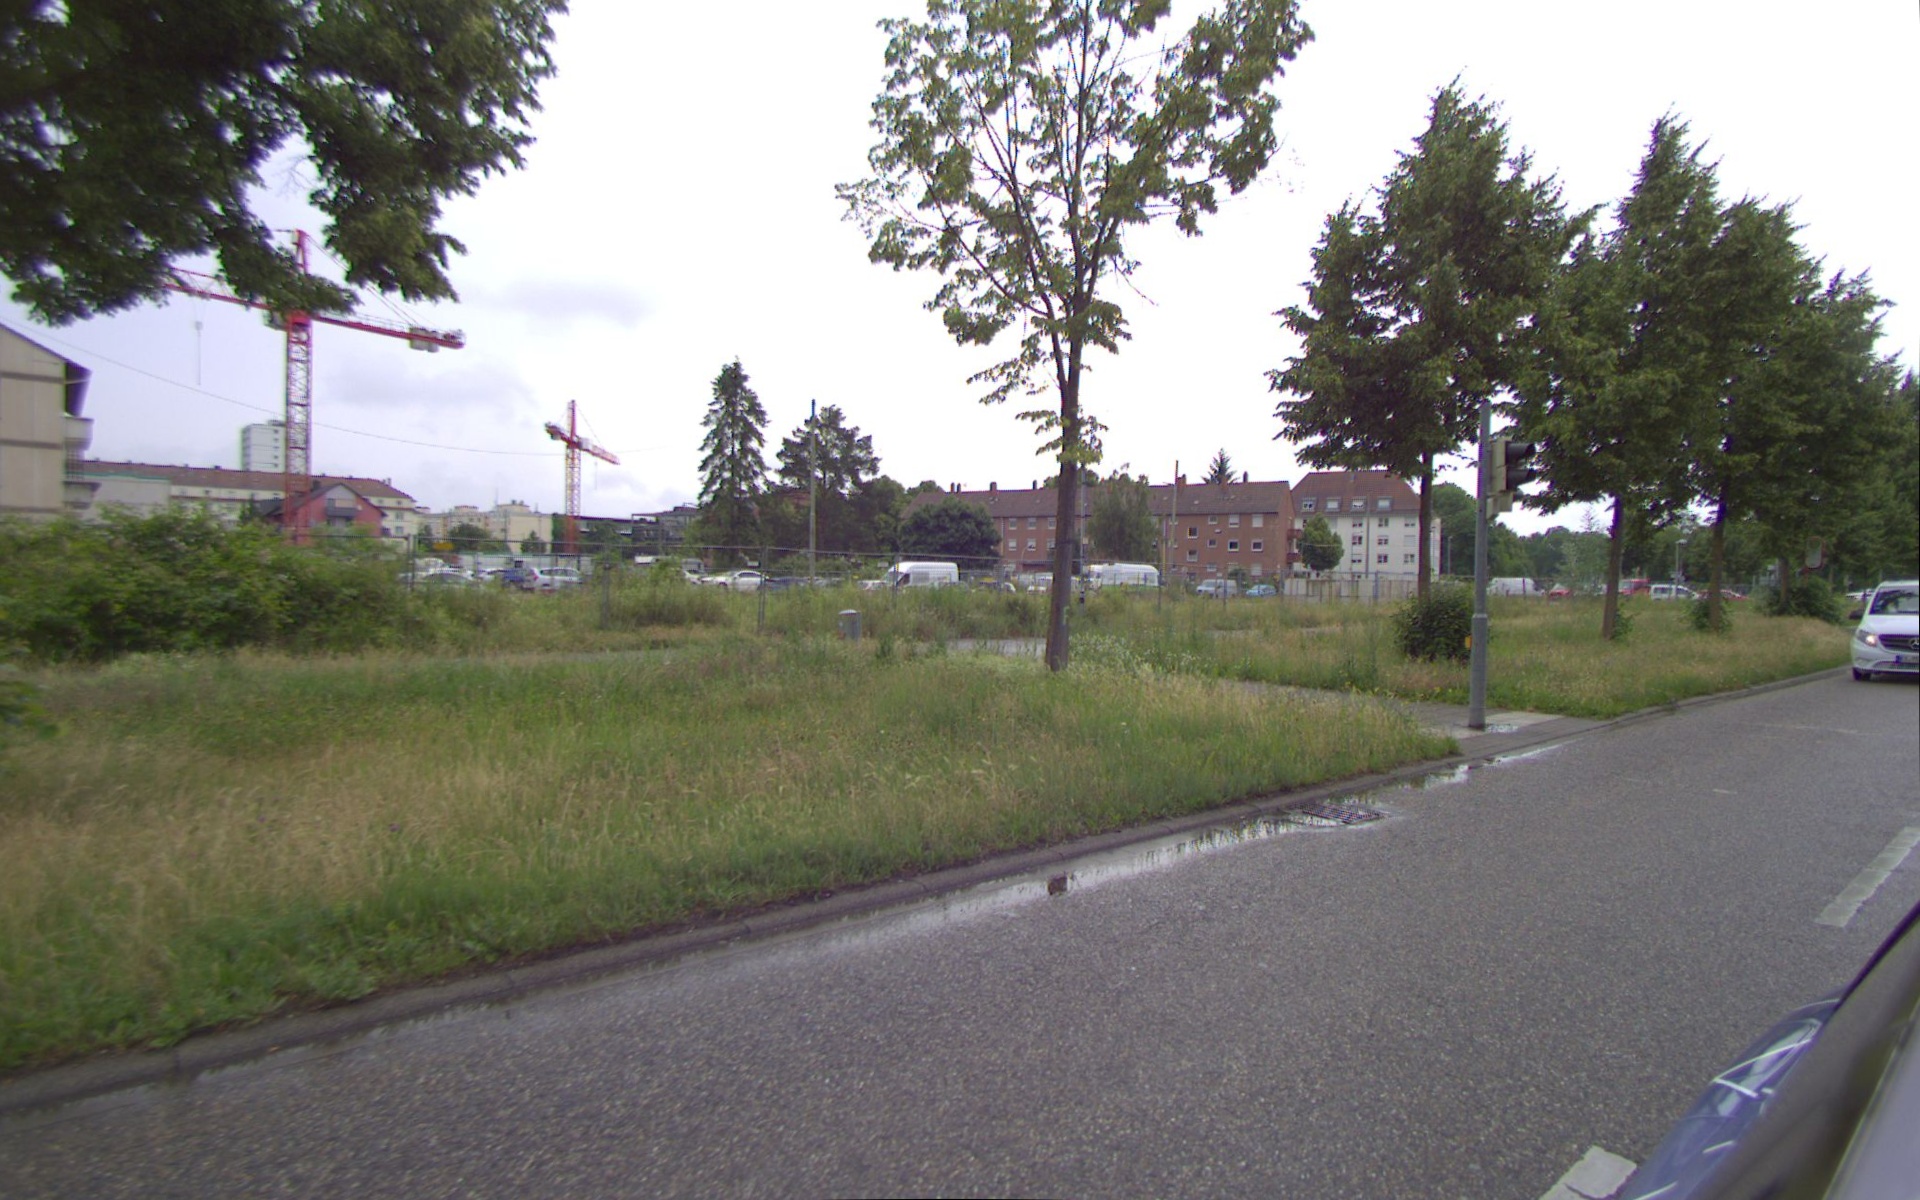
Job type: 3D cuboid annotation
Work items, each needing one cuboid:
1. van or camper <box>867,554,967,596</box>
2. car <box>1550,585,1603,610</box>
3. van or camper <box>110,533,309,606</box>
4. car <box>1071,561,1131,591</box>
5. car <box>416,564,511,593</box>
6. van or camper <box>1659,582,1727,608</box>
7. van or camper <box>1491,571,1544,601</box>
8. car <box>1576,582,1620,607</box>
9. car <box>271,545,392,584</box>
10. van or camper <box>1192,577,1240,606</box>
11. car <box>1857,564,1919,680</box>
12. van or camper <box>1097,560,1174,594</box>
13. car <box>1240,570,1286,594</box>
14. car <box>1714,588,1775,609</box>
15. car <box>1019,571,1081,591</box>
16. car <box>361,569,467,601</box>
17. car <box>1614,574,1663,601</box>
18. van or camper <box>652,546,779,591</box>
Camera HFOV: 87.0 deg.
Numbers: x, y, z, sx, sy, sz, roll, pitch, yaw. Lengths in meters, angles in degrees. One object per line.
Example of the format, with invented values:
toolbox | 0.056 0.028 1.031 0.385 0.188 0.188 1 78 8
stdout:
van or camper | -2.760 -1.590 66.154 6.311 2.567 2.779 0 1 -43
car | 59.803 -0.222 98.161 5.338 2.339 2.200 0 1 -32
van or camper | -30.227 -1.191 40.915 6.288 2.722 2.311 0 2 -43
car | 11.135 -1.891 79.869 4.681 2.247 2.273 0 1 -44
car | -24.391 -1.029 49.775 3.960 1.369 1.700 0 2 -40
van or camper | 60.219 -0.444 83.211 4.322 2.039 1.831 1 1 44
van or camper | 58.161 -1.432 105.544 5.399 3.073 2.349 0 0 -29
car | 59.899 -0.536 94.969 3.921 2.339 2.001 0 0 -32
car | -33.134 -1.851 53.432 5.120 1.918 2.164 0 2 -44
van or camper | 23.103 -0.769 91.254 1.912 2.568 5.180 1 1 42
car | 18.542 0.350 18.948 5.003 2.004 1.971 -1 2 -41
van or camper | 12.588 -1.634 72.370 6.045 2.336 2.205 0 1 -43
car | 29.467 -1.712 98.226 4.681 2.247 2.273 0 1 -44
car | 65.856 -0.135 84.985 1.651 1.727 3.799 0 0 -42
car | 6.787 -1.409 75.685 4.681 1.369 2.092 0 1 -44
car | -24.702 -0.668 45.852 3.960 1.369 1.700 0 1 -40
car | 61.559 -1.115 91.827 3.918 2.339 2.003 0 0 -27
van or camper | -13.629 -1.697 56.768 6.536 2.336 2.505 0 0 -43
